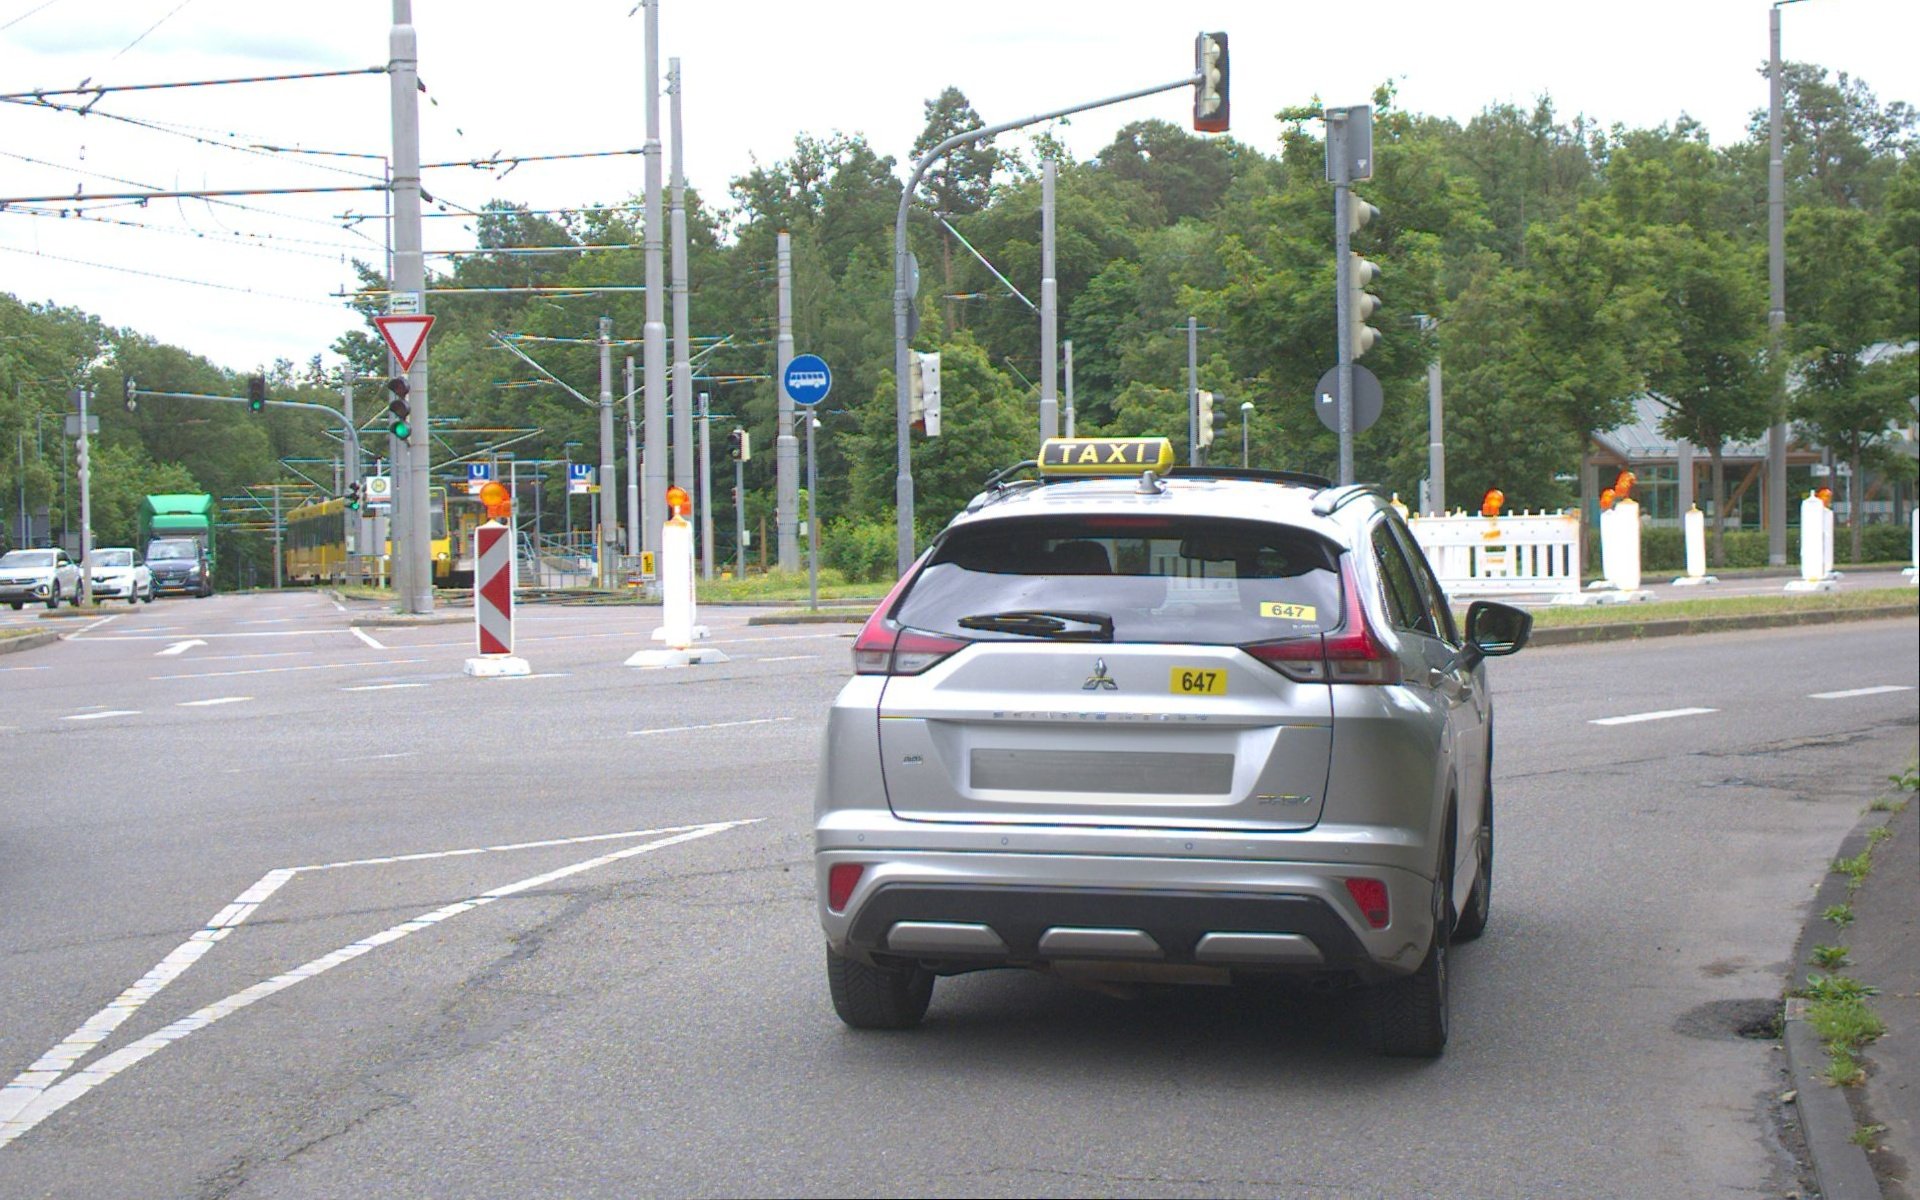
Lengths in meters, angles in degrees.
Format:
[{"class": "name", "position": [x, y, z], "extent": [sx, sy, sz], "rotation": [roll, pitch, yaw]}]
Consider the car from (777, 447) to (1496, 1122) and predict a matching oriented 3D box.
[{"class": "car", "position": [0.736, 0.440, 10.920], "extent": [1.774, 1.742, 3.779], "rotation": [1, 1, 11]}]

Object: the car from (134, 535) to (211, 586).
[{"class": "car", "position": [-24.867, -1.257, 108.678], "extent": [1.961, 1.535, 4.311], "rotation": [-1, 1, -8]}]

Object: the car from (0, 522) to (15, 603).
[{"class": "car", "position": [-22.807, -0.839, 78.111], "extent": [1.961, 1.838, 4.691], "rotation": [-1, 1, -8]}]

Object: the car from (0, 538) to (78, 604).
[{"class": "car", "position": [-23.903, -0.759, 88.211], "extent": [1.961, 1.601, 4.311], "rotation": [-1, 1, -8]}]

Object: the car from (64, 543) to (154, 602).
[{"class": "car", "position": [-23.458, -0.778, 94.882], "extent": [1.961, 1.536, 4.397], "rotation": [-1, 1, -8]}]
